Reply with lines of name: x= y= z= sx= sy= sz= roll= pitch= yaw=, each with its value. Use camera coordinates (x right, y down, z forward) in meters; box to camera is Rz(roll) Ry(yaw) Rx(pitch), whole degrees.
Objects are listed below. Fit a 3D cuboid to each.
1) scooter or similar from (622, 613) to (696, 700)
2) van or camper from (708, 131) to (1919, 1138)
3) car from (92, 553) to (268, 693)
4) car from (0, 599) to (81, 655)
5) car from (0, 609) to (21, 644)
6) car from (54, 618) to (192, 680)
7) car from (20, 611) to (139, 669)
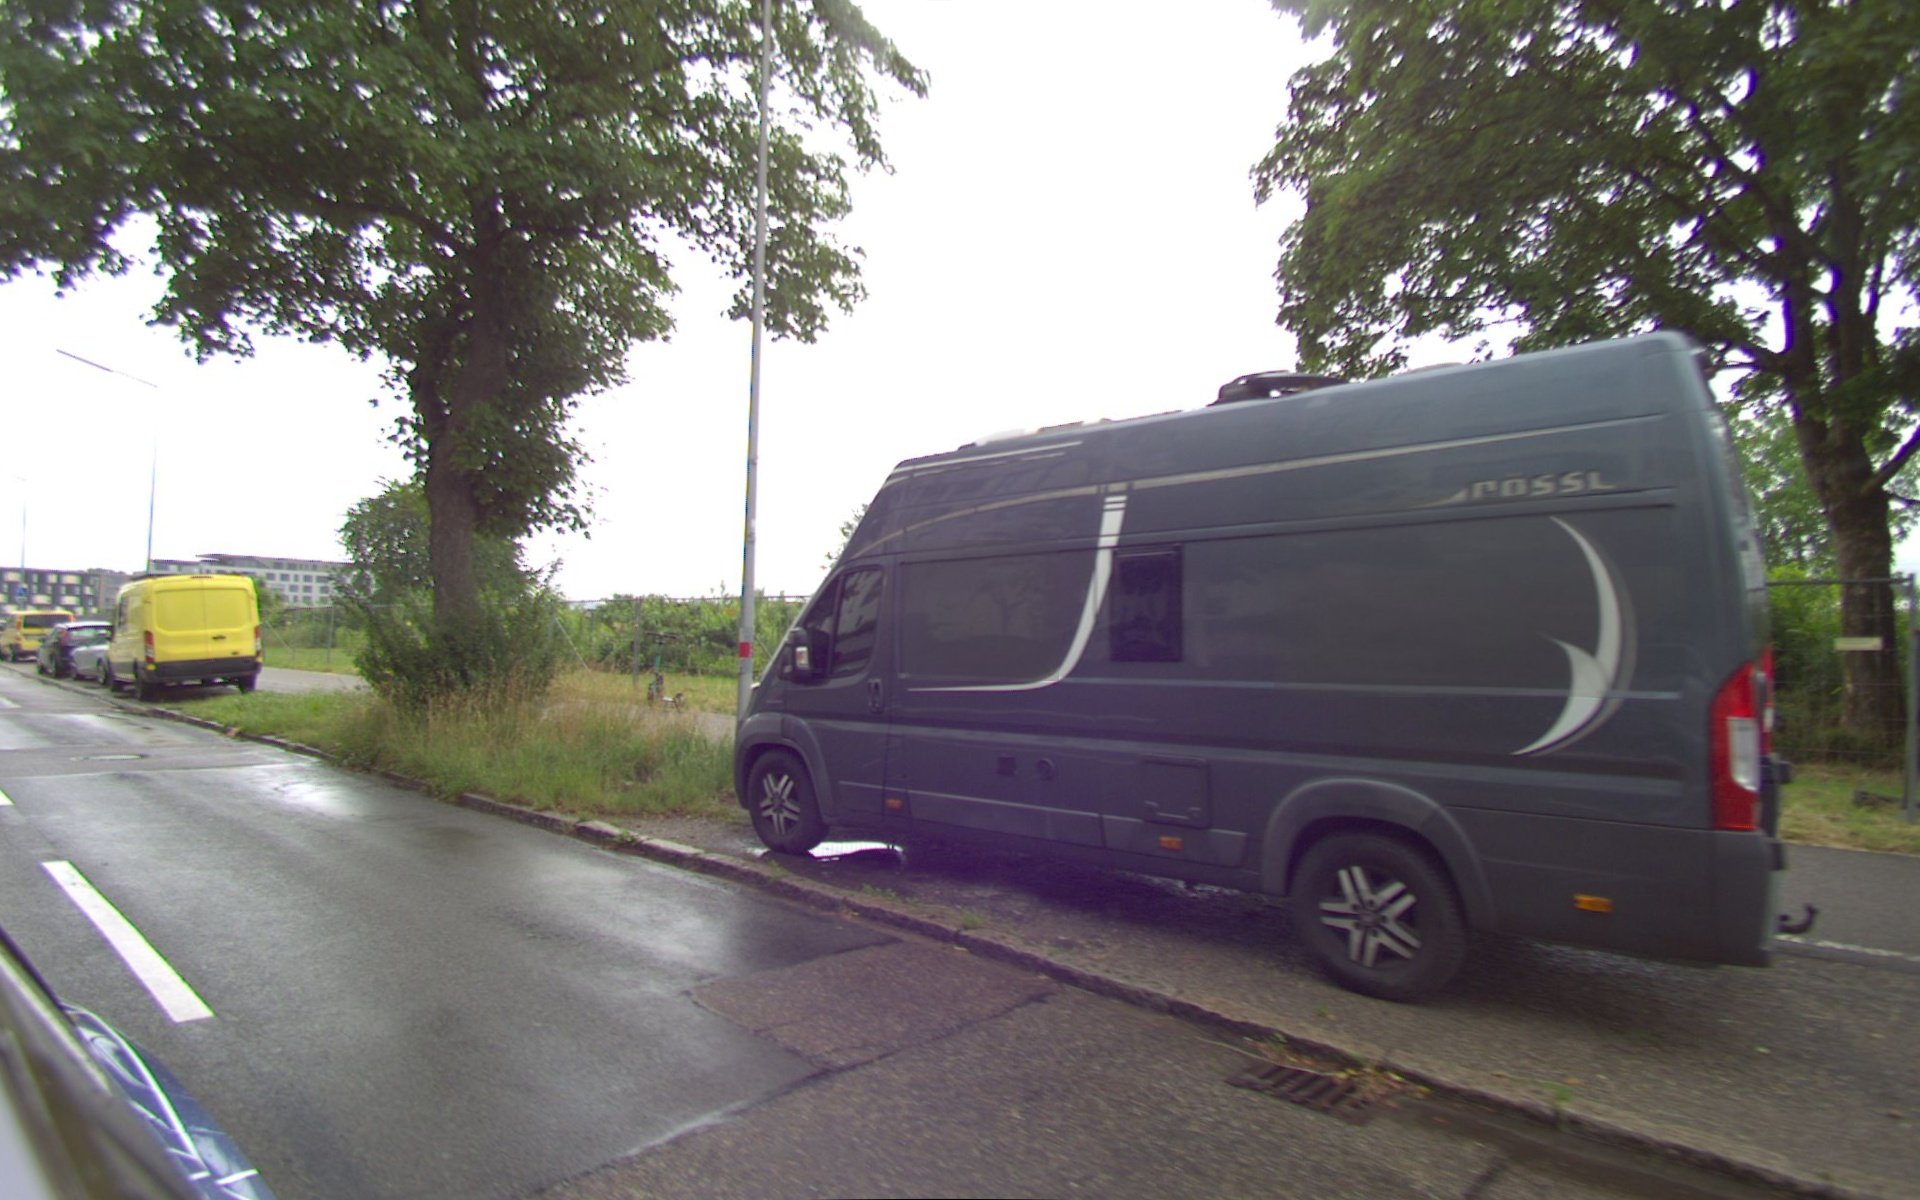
scooter or similar: x=-4.898 y=0.906 z=16.447 sx=1.411 sy=1.350 sz=0.430 roll=-1 pitch=-4 yaw=42
van or camper: x=1.287 y=0.129 z=5.964 sx=6.420 sy=3.118 sz=2.073 roll=-1 pitch=-1 yaw=41
car: x=-17.425 y=0.505 z=22.463 sx=6.082 sy=2.715 sz=2.167 roll=-1 pitch=-1 yaw=43
car: x=-35.248 y=1.010 z=38.447 sx=6.063 sy=1.971 sz=1.996 roll=-1 pitch=-2 yaw=42
car: x=-44.845 y=1.255 z=46.765 sx=4.032 sy=1.573 sz=1.784 roll=-2 pitch=-2 yaw=42
car: x=-22.122 y=1.205 z=26.671 sx=5.337 sy=1.445 sz=1.989 roll=-1 pitch=-1 yaw=41
car: x=-26.221 y=1.123 z=30.087 sx=5.014 sy=1.606 sz=1.973 roll=-1 pitch=-1 yaw=41
